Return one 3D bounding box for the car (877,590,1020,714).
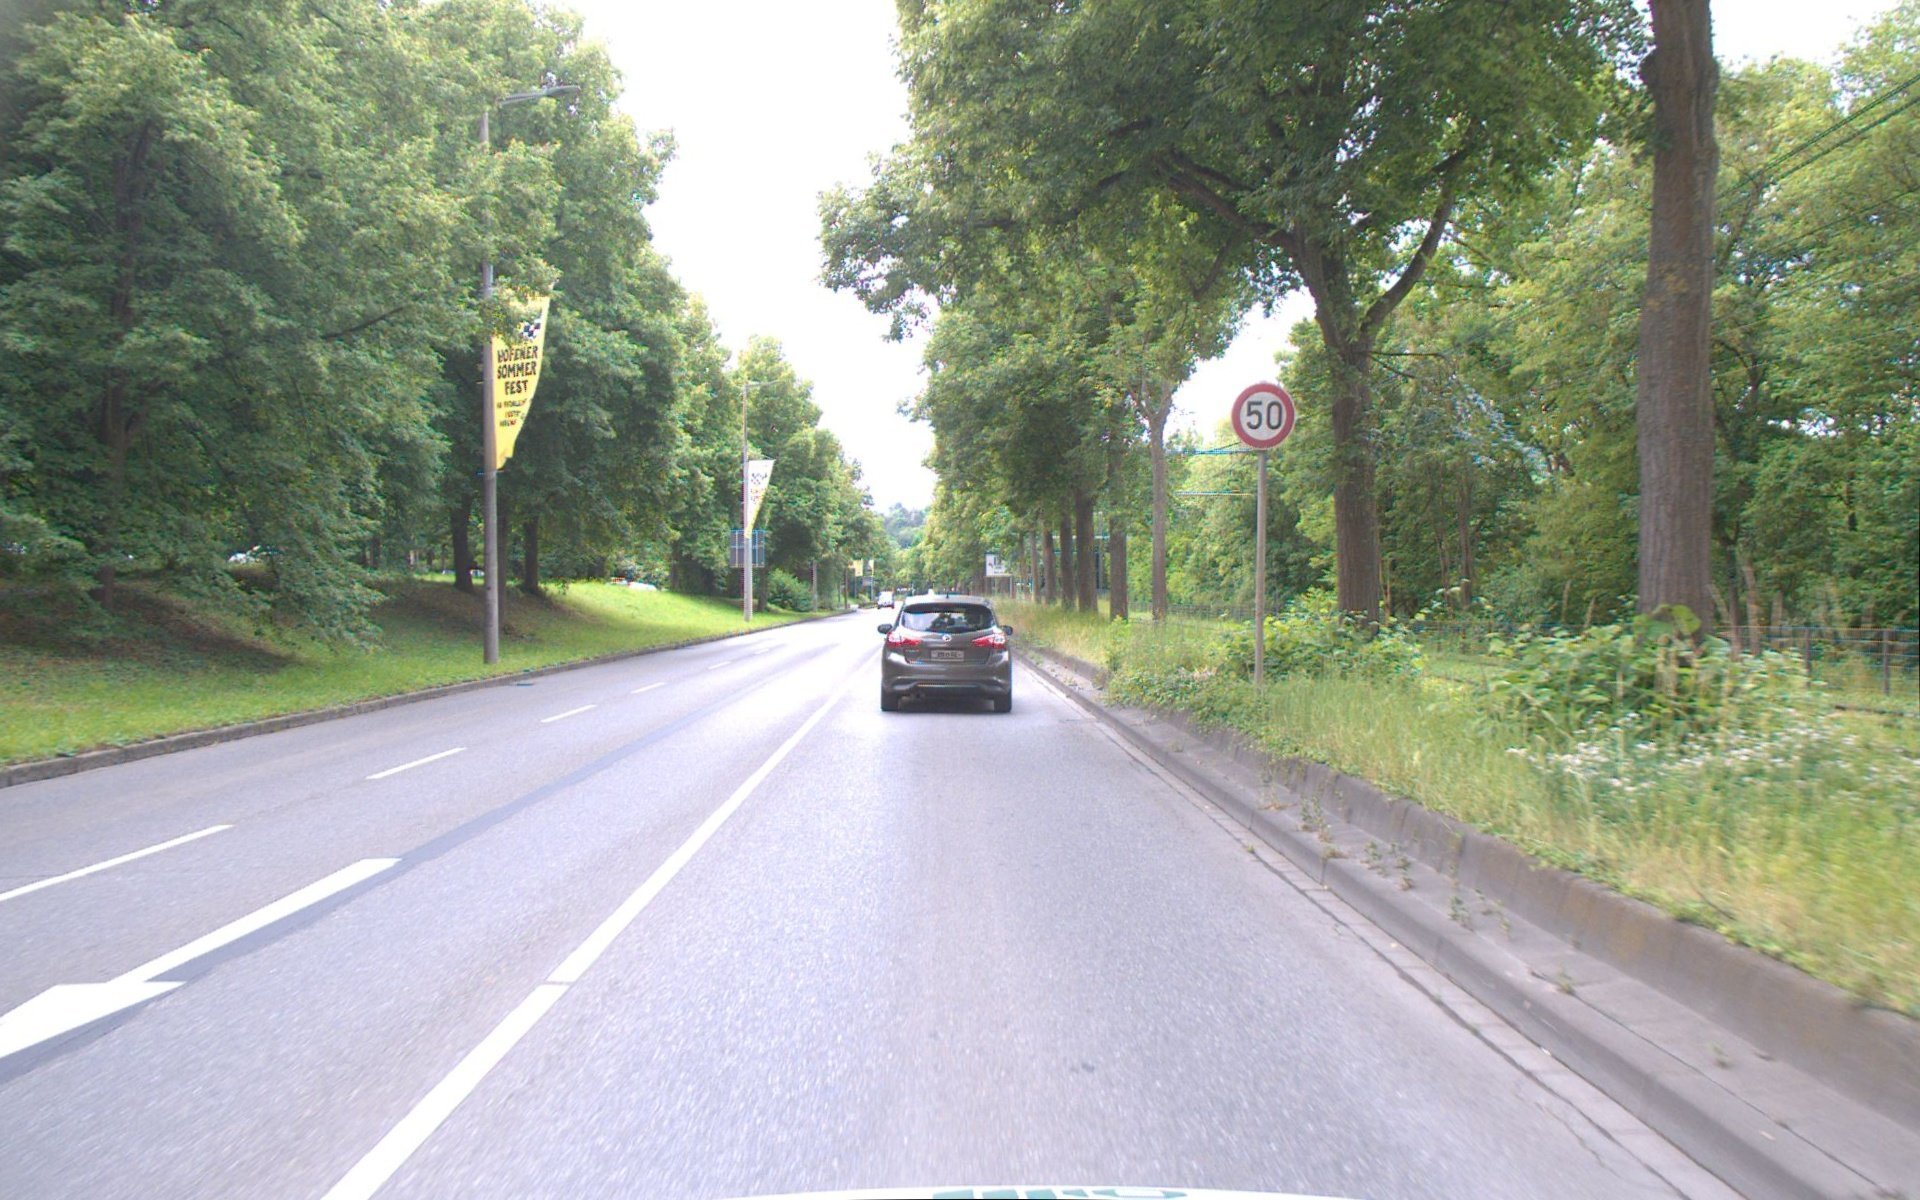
[{"bbox_3d":[-0.120,0.679,23.131,1.799,1.555,3.929,1,0,1],"label":"car"}]

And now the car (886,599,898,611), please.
[{"bbox_3d":[-7.763,0.561,188.377,1.252,1.247,3.778,1,0,0],"label":"car"}]
